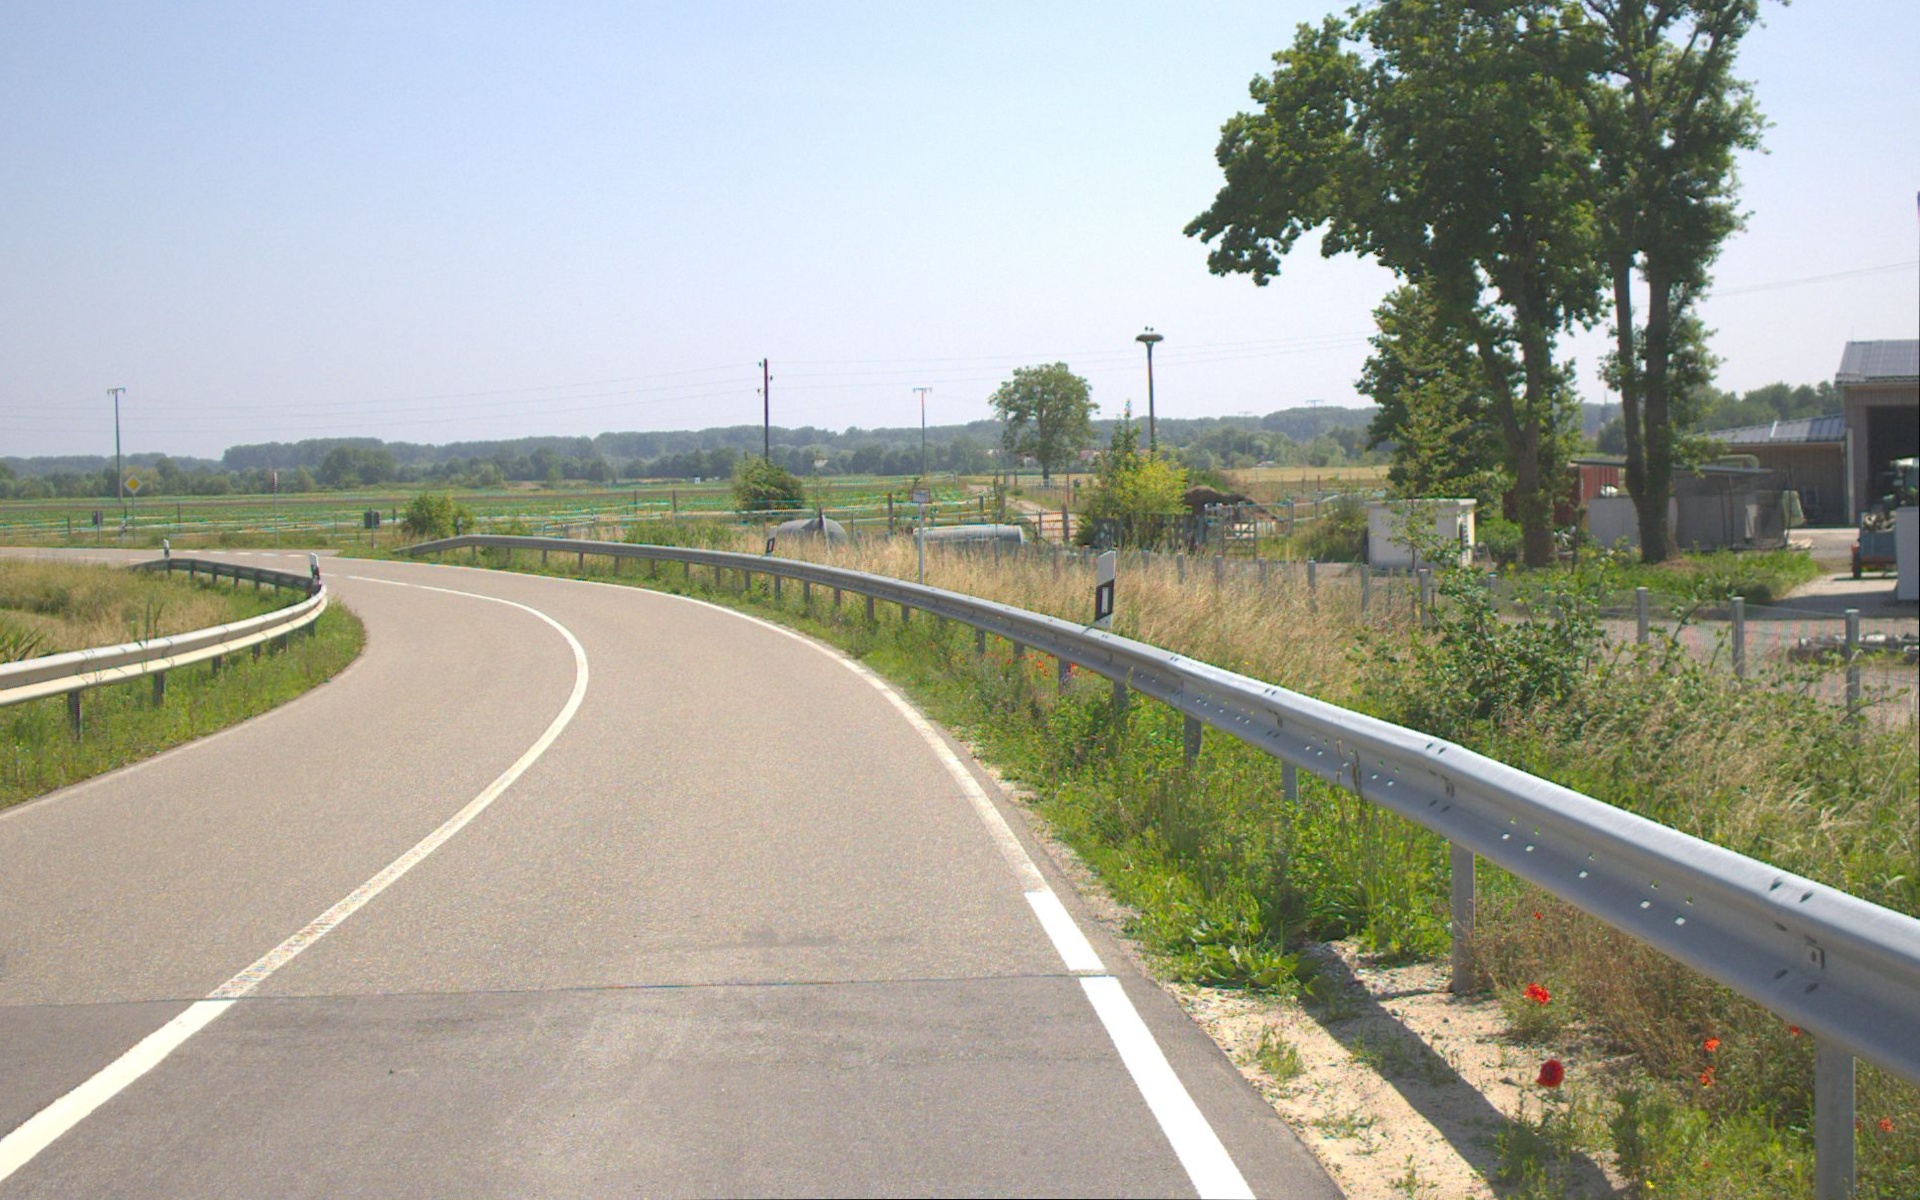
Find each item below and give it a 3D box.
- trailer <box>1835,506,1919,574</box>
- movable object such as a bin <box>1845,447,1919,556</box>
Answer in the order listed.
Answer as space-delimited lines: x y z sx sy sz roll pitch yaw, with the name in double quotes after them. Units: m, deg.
21.068 -1.352 78.203 1.713 1.491 3.137 0 0 25 "trailer"
25.144 -2.618 89.688 3.003 2.760 6.504 0 2 6 "movable object such as a bin"
